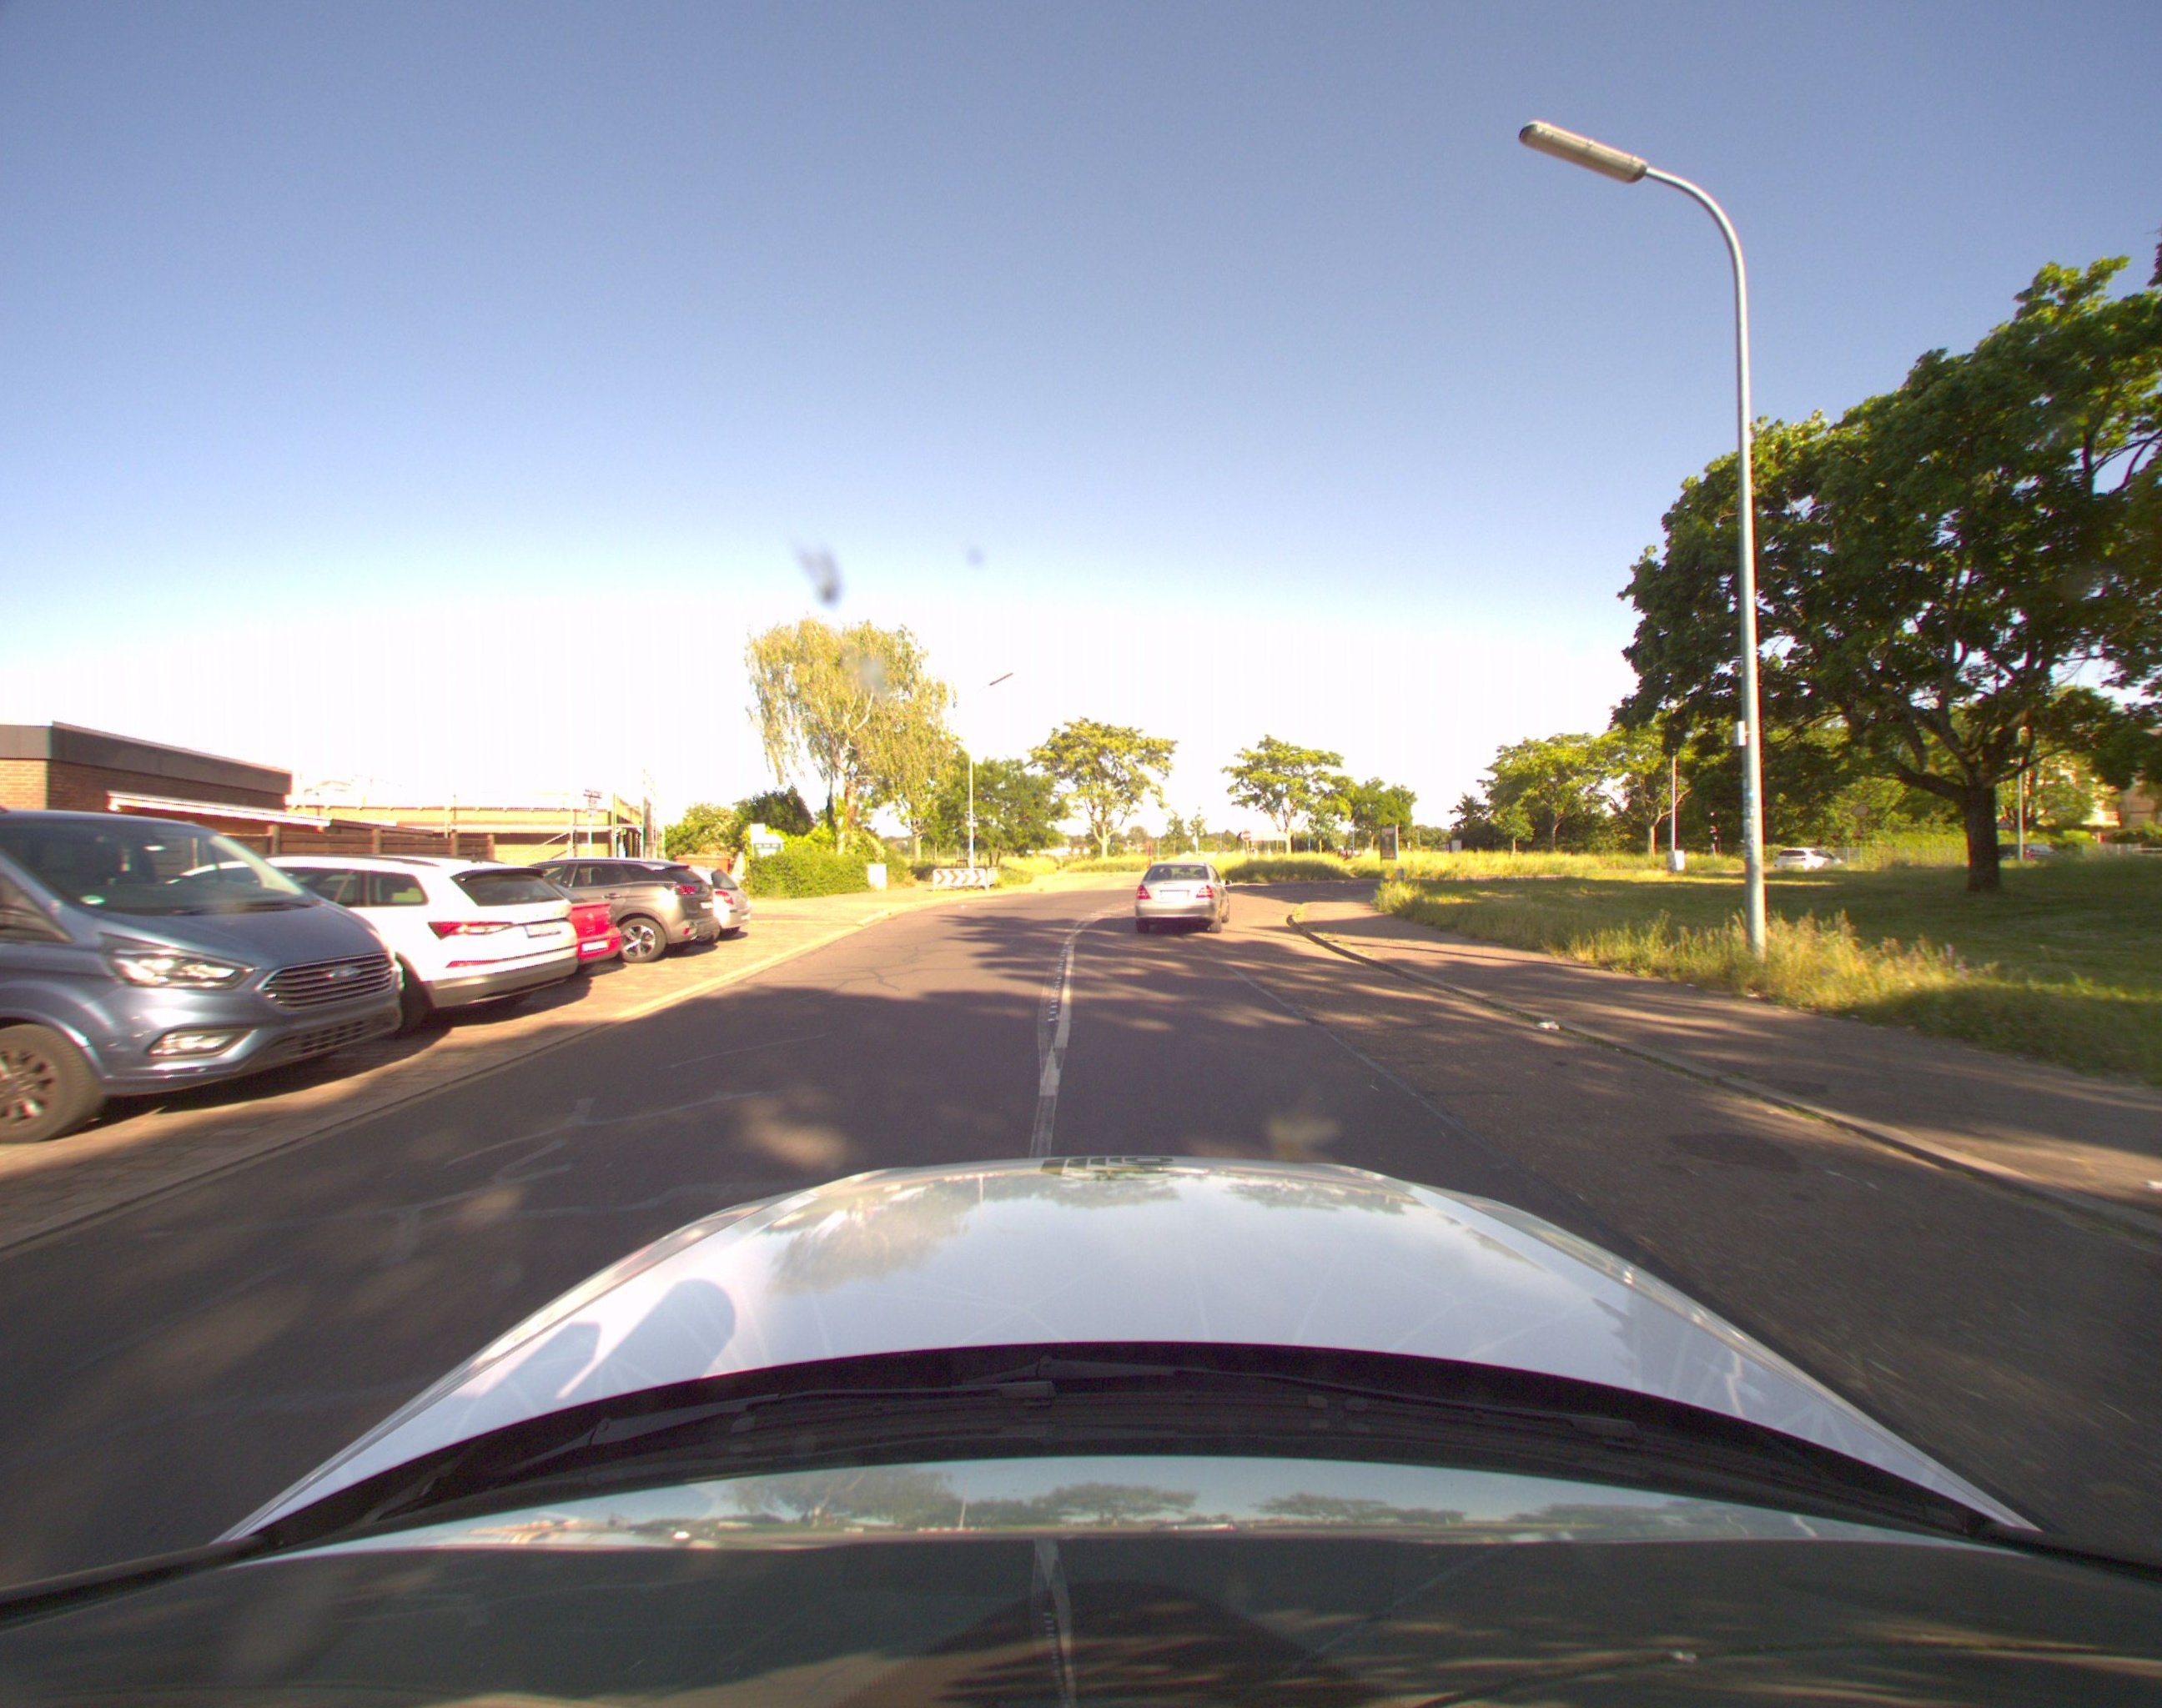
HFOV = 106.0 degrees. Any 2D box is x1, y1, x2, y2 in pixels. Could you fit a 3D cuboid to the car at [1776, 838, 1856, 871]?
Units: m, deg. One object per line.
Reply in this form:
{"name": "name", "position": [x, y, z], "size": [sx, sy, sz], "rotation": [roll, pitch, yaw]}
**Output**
{"name": "car", "position": [39.972, -0.017, 44.286], "size": [3.742, 1.479, 1.715], "rotation": [-4, 3, -21]}

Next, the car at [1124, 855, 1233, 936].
{"name": "car", "position": [2.216, 0.775, 17.429], "size": [1.803, 1.463, 4.377], "rotation": [0, 0, 13]}

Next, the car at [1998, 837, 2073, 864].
{"name": "car", "position": [59.096, -0.212, 50.410], "size": [4.000, 1.610, 1.693], "rotation": [-1, 0, -20]}

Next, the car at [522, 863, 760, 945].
{"name": "car", "position": [-8.359, 0.921, 15.760], "size": [3.684, 1.459, 1.630], "rotation": [0, -1, -8]}

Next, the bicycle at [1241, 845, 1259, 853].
{"name": "bicycle", "position": [15.821, -0.477, 76.270], "size": [1.580, 0.704, 0.648], "rotation": [0, 0, -27]}

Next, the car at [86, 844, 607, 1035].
{"name": "car", "position": [-7.075, 0.770, 8.143], "size": [3.598, 1.607, 1.734], "rotation": [1, -1, 1]}

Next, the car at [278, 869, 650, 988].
{"name": "car", "position": [-8.042, 0.928, 10.869], "size": [3.598, 1.344, 1.734], "rotation": [1, -1, 1]}

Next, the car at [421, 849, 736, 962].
{"name": "car", "position": [-8.066, 0.794, 13.357], "size": [3.972, 1.612, 1.819], "rotation": [1, -1, 1]}

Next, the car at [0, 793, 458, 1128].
{"name": "car", "position": [-7.540, 0.619, 5.589], "size": [4.860, 1.915, 1.998], "rotation": [0, -1, -3]}

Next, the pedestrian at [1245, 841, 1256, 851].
{"name": "pedestrian", "position": [15.903, -0.728, 76.326], "size": [0.802, 0.940, 0.697], "rotation": [0, 0, -27]}
